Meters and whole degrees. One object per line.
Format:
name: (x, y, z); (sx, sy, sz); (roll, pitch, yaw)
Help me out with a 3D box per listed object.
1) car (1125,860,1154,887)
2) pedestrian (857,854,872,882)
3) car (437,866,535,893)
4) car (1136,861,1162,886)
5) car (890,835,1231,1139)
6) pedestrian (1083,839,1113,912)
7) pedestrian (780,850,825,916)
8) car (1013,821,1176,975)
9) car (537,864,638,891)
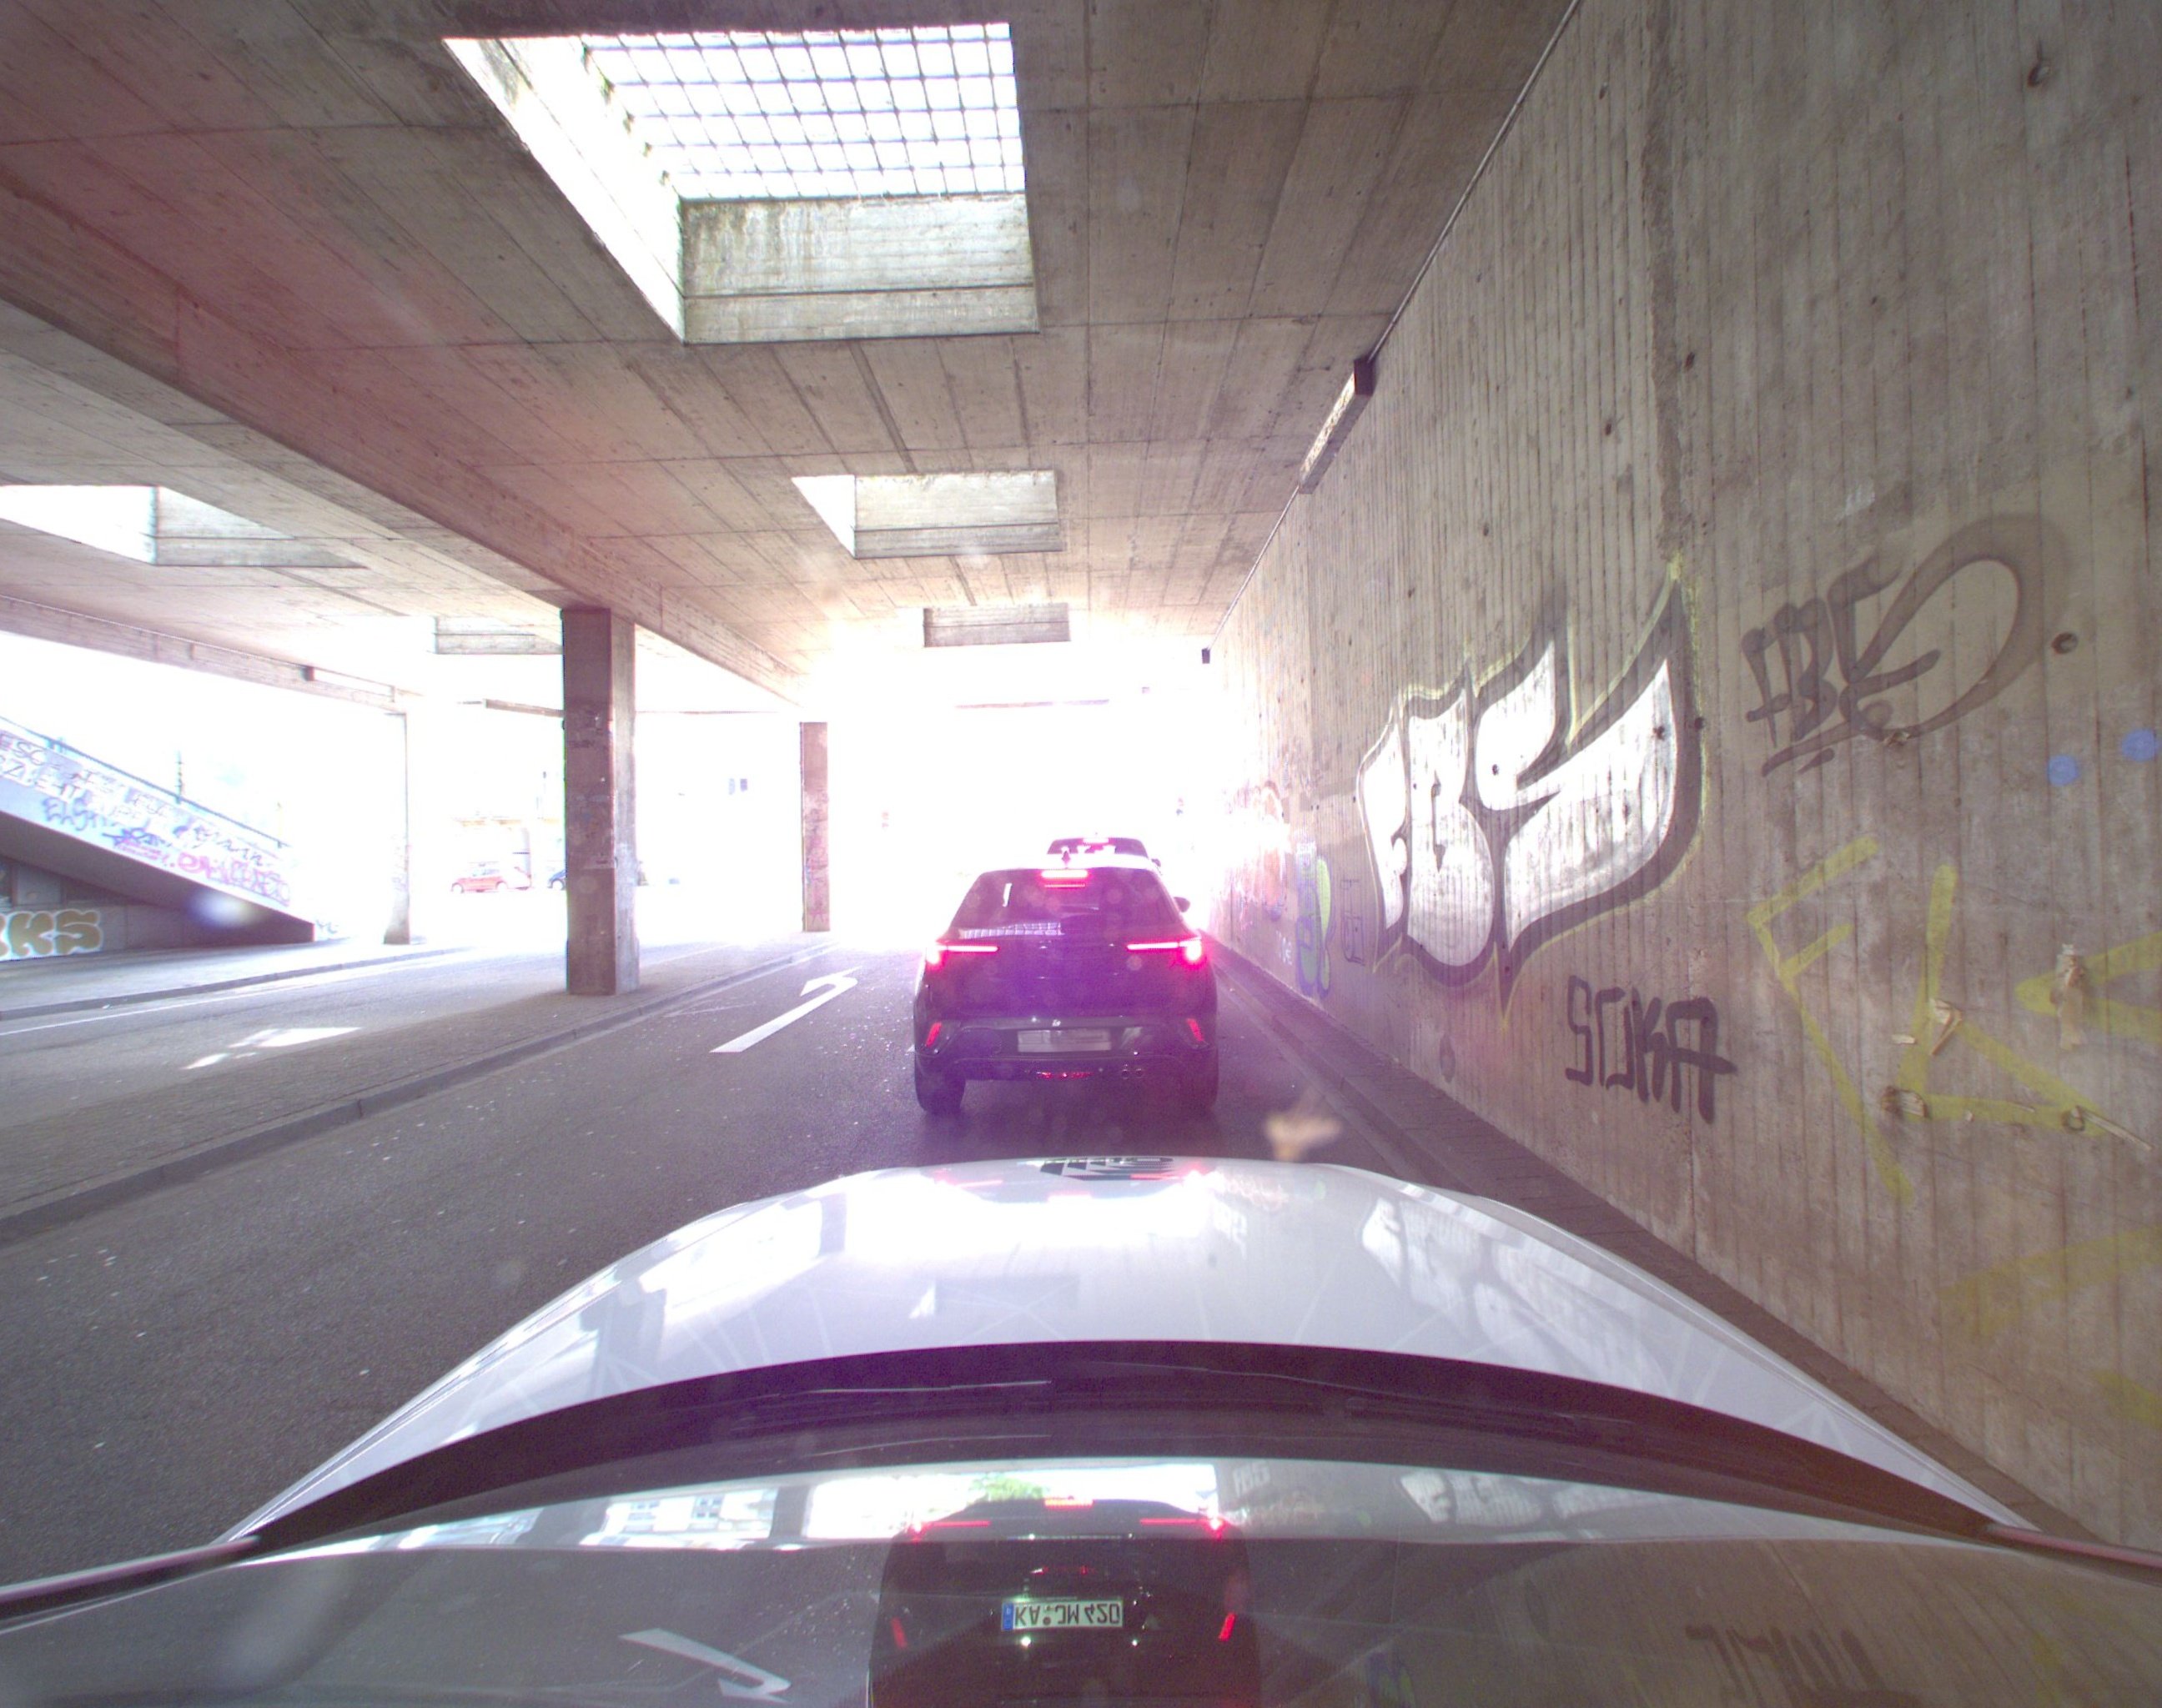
car: (4.503, 1.448, 62.316); (1.983, 1.970, 4.172); (0, -1, 7)
pedestrian: (-12.818, 0.808, 48.167); (0.669, 1.637, 0.741); (0, -1, 1)
car: (-33.019, 1.402, 45.282); (3.975, 1.409, 1.925); (0, -1, -1)
car: (5.717, 1.599, 68.432); (1.983, 1.970, 4.172); (0, -1, 7)
car: (-0.041, 0.653, 6.217); (1.758, 1.571, 4.002); (0, 1, 2)
pedestrian: (0.423, 0.520, 20.003); (0.728, 1.734, 0.874); (0, -1, 1)
pedestrian: (-7.579, 0.786, 22.175); (0.925, 1.762, 0.795); (0, -1, 3)
car: (0.233, 0.544, 12.153); (1.986, 1.871, 4.002); (-2, 0, 2)
car: (-27.378, 1.305, 45.273); (4.393, 1.409, 1.925); (0, -1, -1)
